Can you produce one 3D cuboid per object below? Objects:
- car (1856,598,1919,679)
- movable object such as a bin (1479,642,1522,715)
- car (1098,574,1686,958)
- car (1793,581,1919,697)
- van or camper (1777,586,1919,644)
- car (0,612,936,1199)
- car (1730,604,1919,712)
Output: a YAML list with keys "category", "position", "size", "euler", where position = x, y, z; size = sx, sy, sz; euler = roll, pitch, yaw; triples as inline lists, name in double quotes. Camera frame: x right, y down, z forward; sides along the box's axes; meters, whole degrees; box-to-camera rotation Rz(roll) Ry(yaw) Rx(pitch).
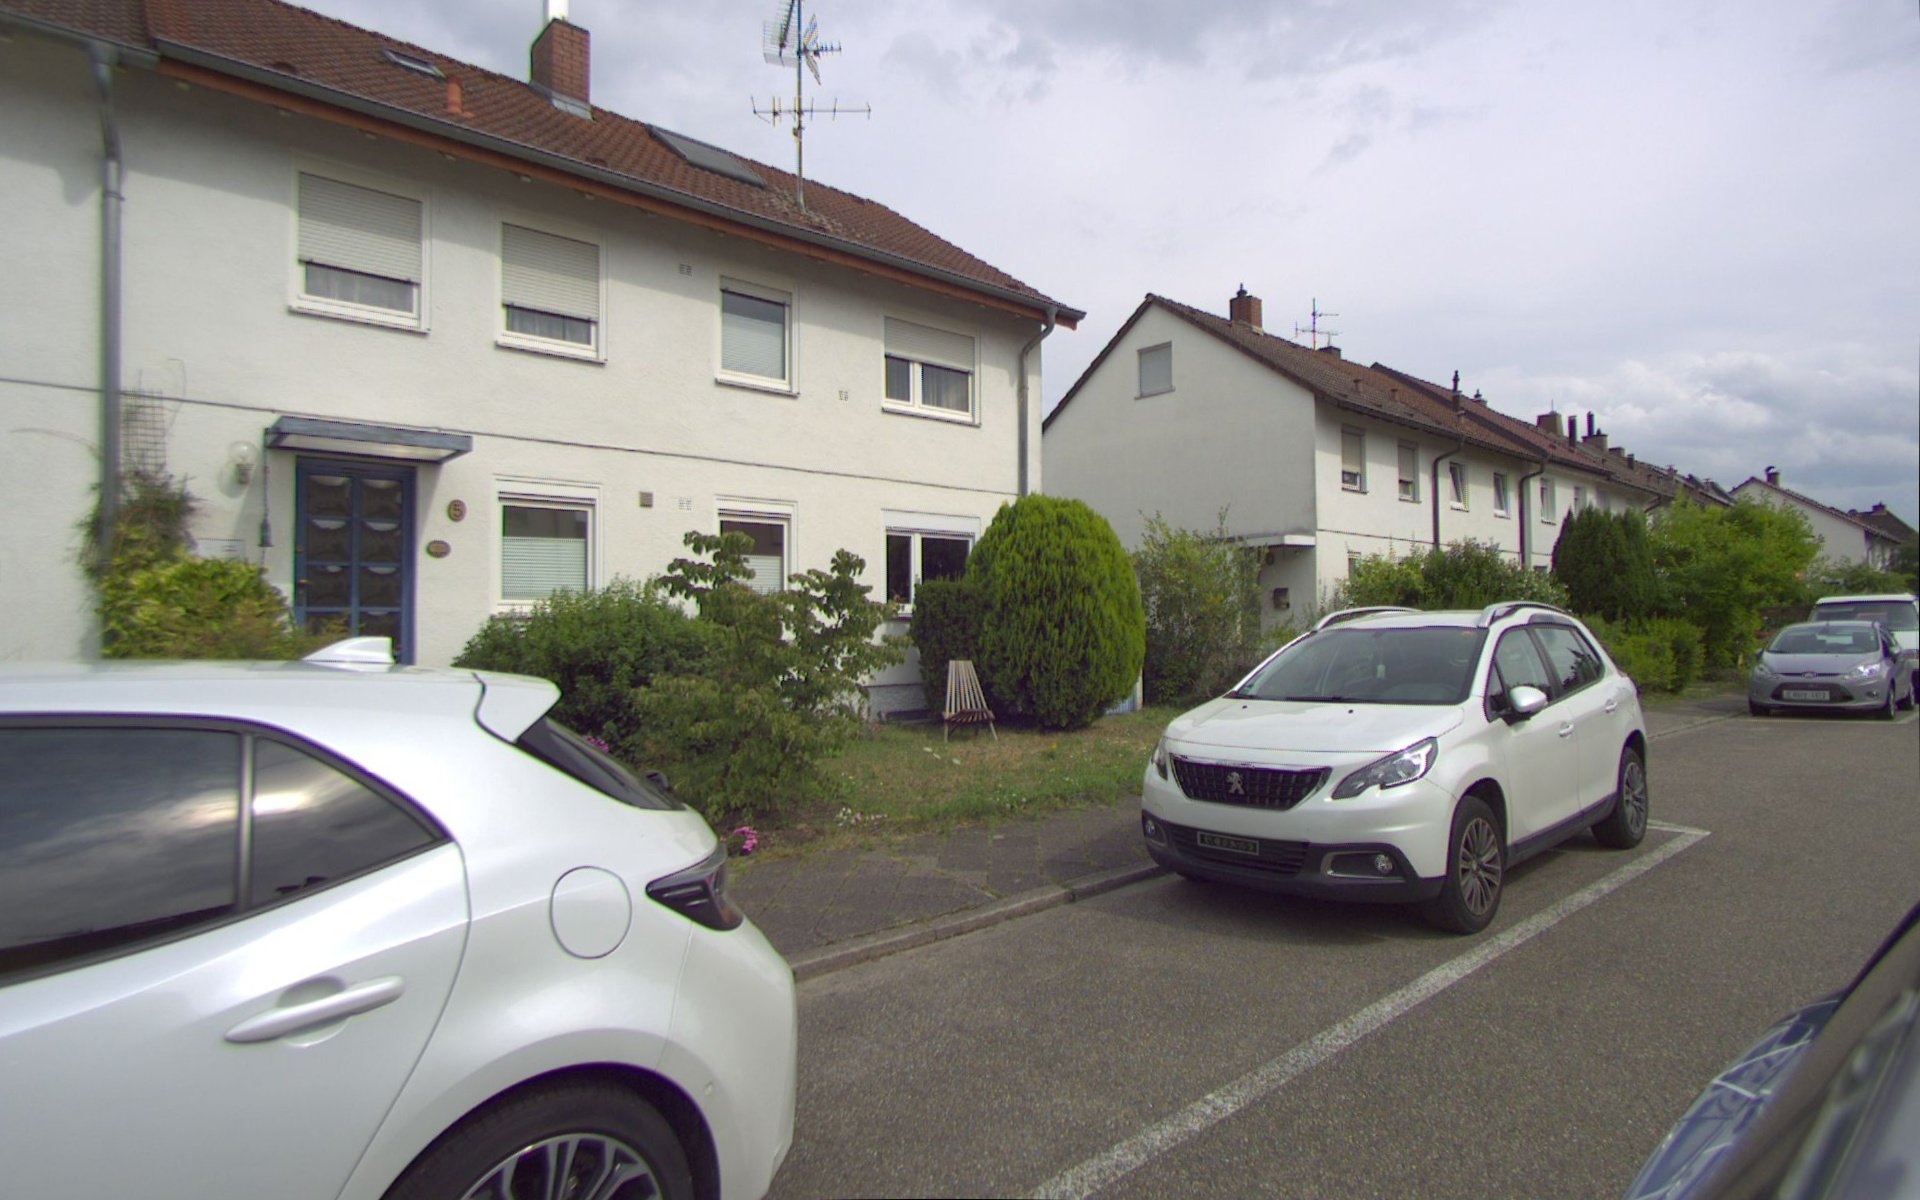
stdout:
- category: "car"
  position: [21.349, 0.820, 22.517]
  size: [4.338, 1.672, 1.811]
  euler: [1, -1, -45]
- category: "movable object such as a bin"
  position: [7.205, 1.032, 13.498]
  size: [0.407, 0.933, 0.414]
  euler: [-1, -1, 45]
- category: "car"
  position: [2.781, 0.725, 6.099]
  size: [3.904, 1.564, 1.715]
  euler: [1, -3, -42]
- category: "car"
  position: [17.608, 0.680, 19.338]
  size: [4.667, 1.972, 2.022]
  euler: [1, -1, -43]
- category: "van or camper"
  position: [46.069, 0.746, 52.214]
  size: [2.494, 2.854, 5.803]
  euler: [1, -1, -44]
- category: "car"
  position: [-2.327, 0.736, 1.517]
  size: [4.559, 1.431, 1.839]
  euler: [1, -1, -44]
- category: "car"
  position: [13.878, 0.821, 15.979]
  size: [4.056, 1.478, 1.904]
  euler: [1, -1, -40]
